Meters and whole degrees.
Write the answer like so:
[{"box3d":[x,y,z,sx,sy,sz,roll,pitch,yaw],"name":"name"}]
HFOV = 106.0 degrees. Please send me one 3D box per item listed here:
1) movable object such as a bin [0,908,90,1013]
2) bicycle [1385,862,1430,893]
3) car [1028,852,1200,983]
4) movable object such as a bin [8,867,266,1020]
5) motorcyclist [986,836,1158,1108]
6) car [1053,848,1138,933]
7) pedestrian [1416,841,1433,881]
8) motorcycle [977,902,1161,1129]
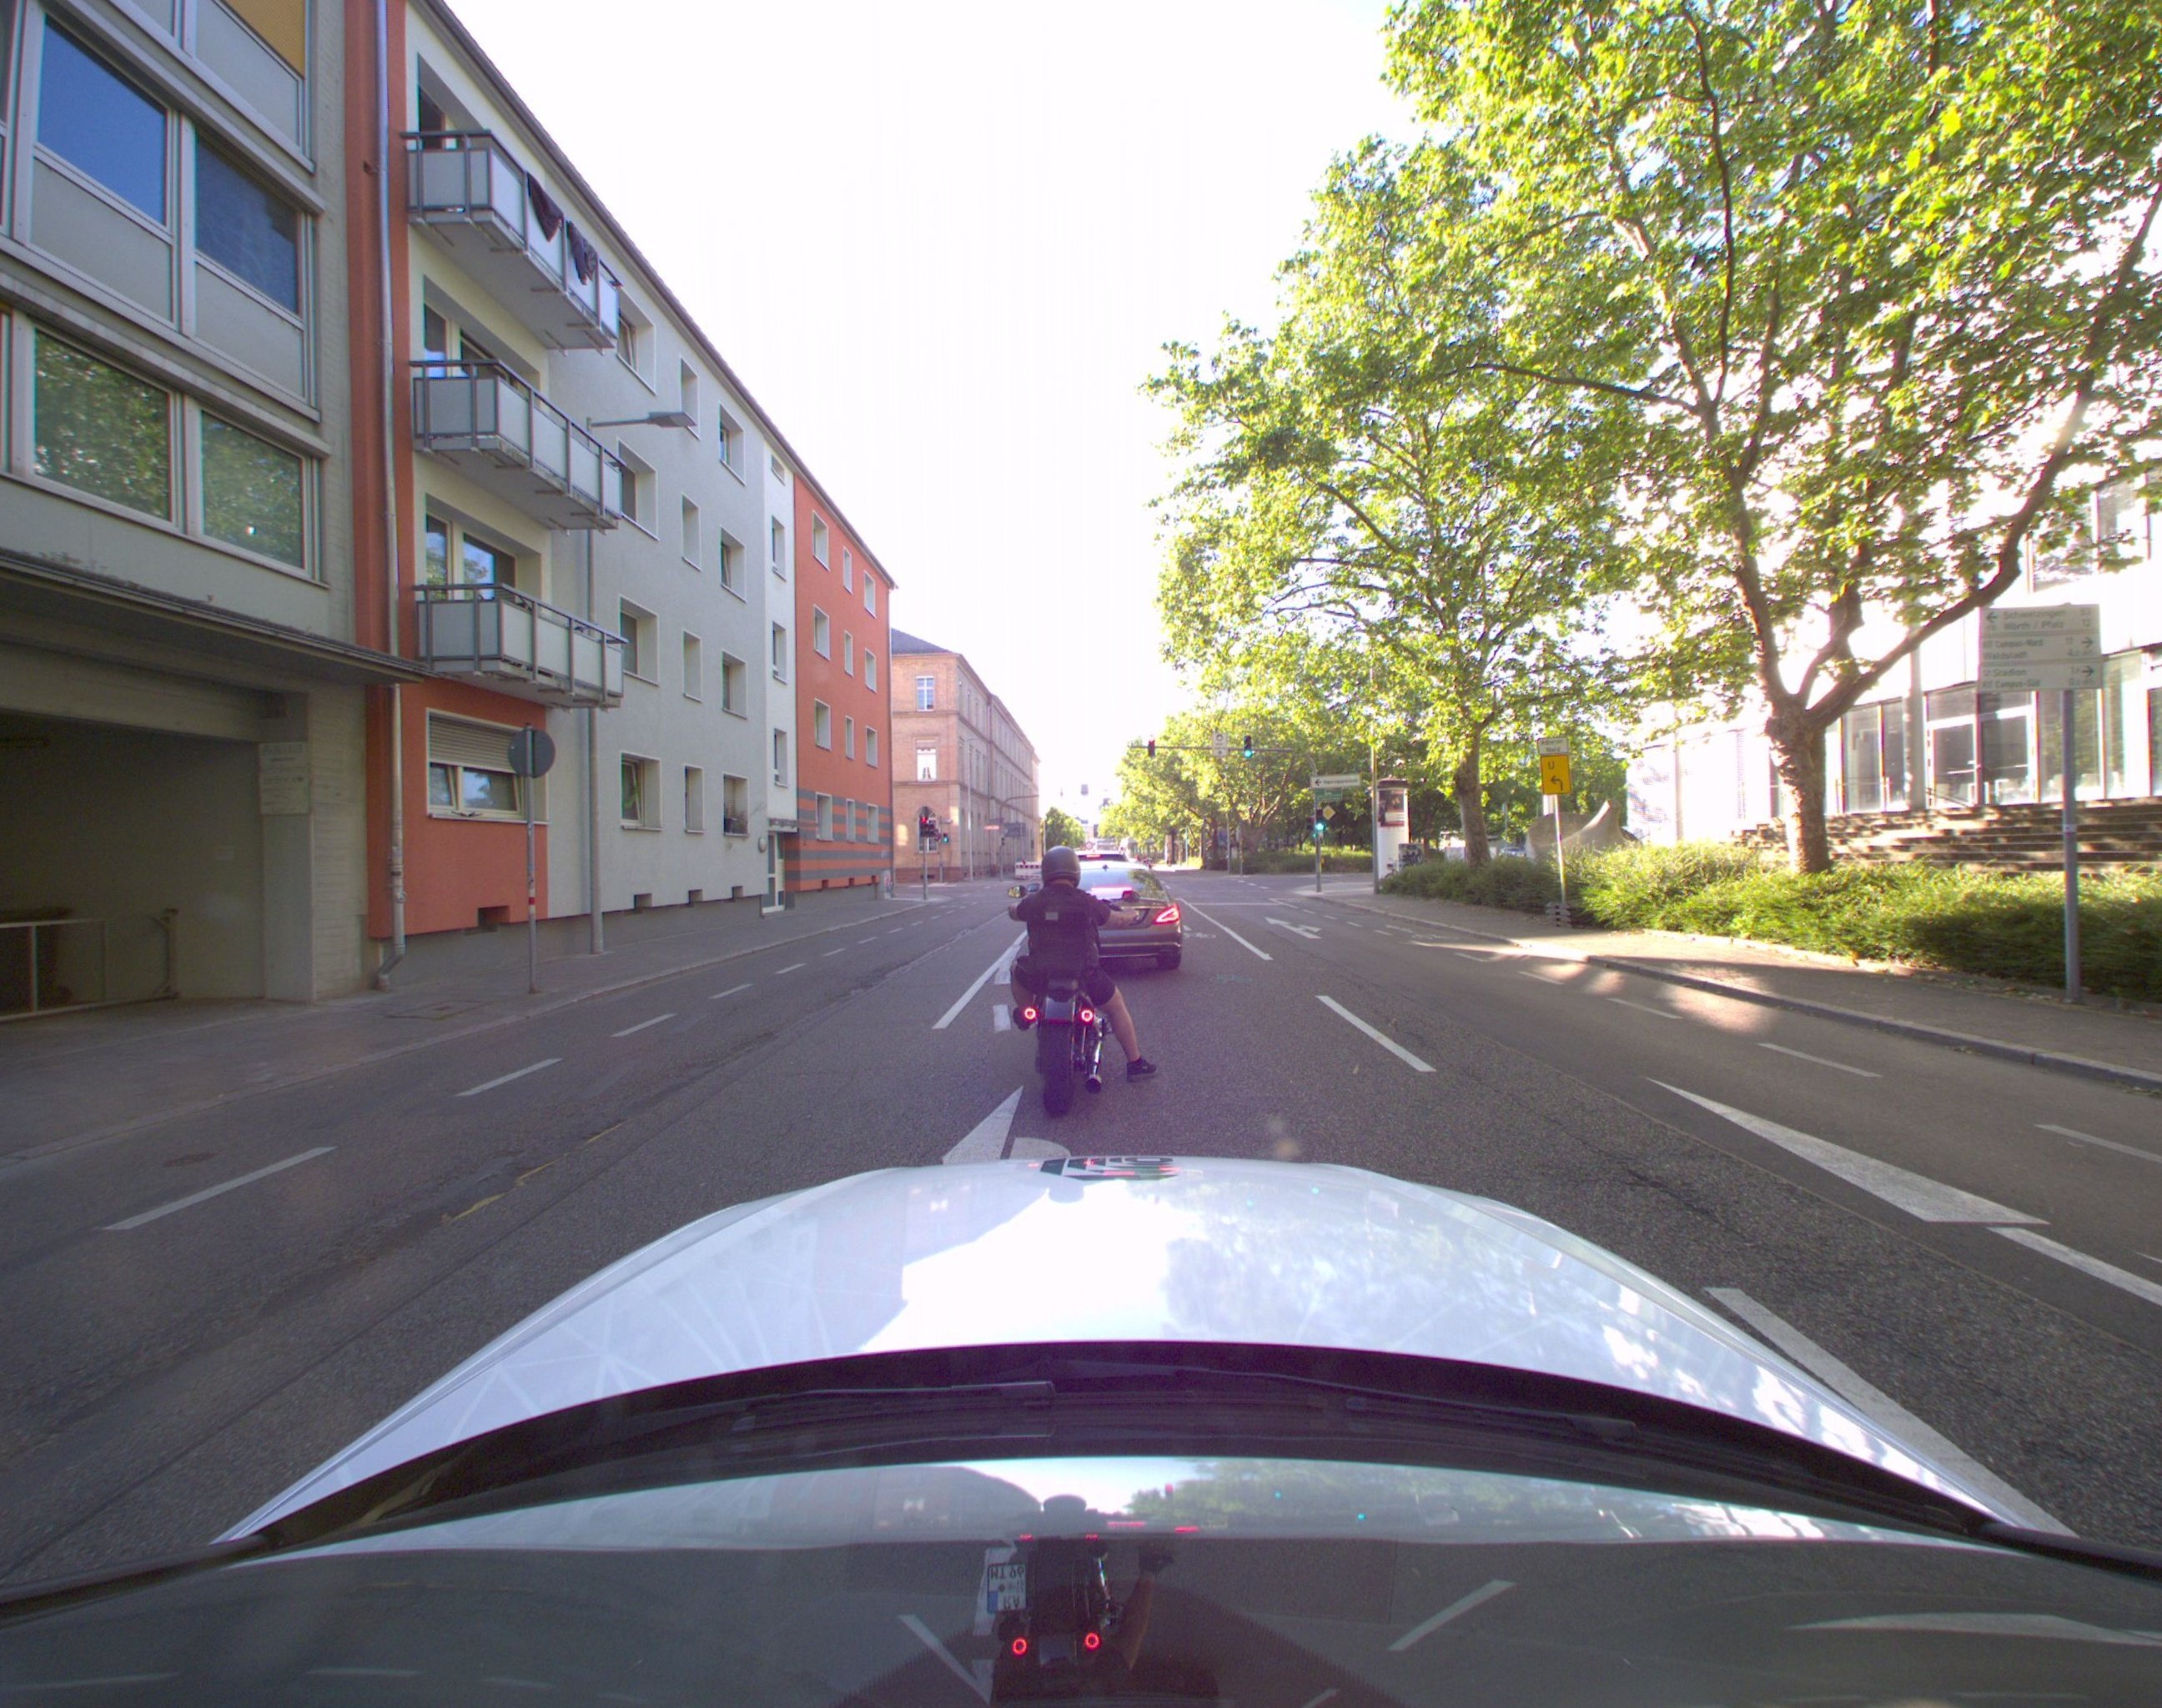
[{"box3d":[-11.313,1.115,8.688,0.593,1.041,0.703,0,-1,1],"name":"movable object such as a bin"},{"box3d":[11.017,0.790,27.481,1.346,1.023,0.363,-1,0,2],"name":"bicycle"},{"box3d":[0.260,0.742,11.724,1.943,1.473,4.355,-1,0,-5],"name":"car"},{"box3d":[-9.622,0.869,8.372,1.322,1.430,1.134,-1,0,3],"name":"movable object such as a bin"},{"box3d":[-0.033,0.699,5.533,0.986,1.597,1.404,-1,0,2],"name":"motorcyclist"},{"box3d":[0.324,0.705,17.894,1.606,1.607,4.329,-1,0,1],"name":"car"},{"box3d":[16.456,0.332,39.046,0.549,1.849,0.594,-1,0,3],"name":"pedestrian"},{"box3d":[-0.025,0.958,5.686,0.986,1.078,2.453,-1,0,2],"name":"motorcycle"}]
